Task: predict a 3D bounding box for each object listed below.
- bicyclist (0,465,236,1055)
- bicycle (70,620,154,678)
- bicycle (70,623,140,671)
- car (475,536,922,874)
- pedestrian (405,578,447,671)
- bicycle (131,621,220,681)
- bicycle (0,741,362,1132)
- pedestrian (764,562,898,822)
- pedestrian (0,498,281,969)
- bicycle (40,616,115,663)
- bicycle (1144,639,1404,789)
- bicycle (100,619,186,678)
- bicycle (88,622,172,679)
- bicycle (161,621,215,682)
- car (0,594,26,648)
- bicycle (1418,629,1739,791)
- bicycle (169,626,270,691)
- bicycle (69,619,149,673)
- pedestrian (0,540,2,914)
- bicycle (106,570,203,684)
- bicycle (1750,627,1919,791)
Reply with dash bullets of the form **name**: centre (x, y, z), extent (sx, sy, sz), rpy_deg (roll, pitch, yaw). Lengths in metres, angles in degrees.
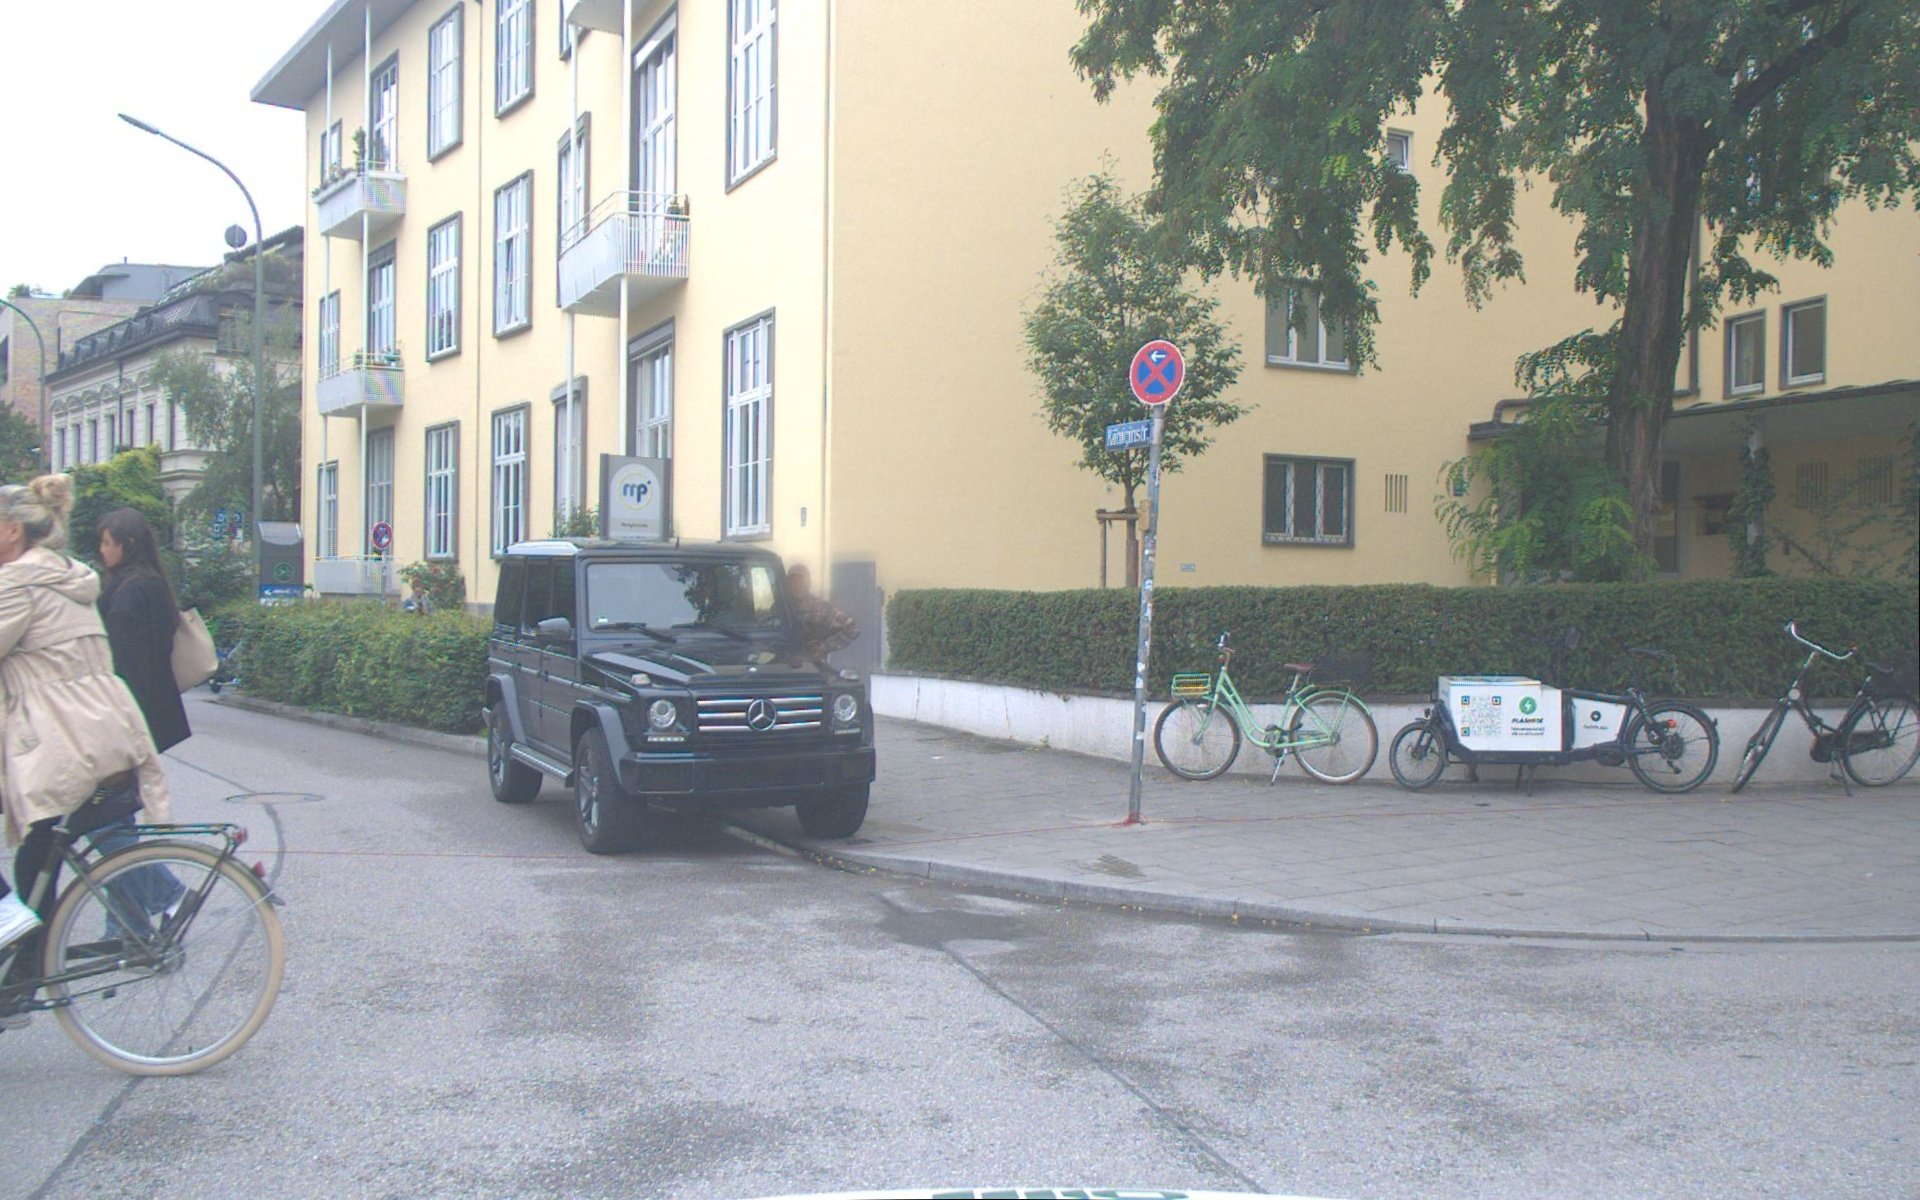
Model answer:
- **bicyclist**: centre (-2.828, 0.454, 5.059), extent (0.985, 1.685, 0.694), rpy_deg (0, 0, -11)
- **bicycle**: centre (-16.326, 0.929, 31.875), extent (0.400, 1.032, 1.537), rpy_deg (-1, 1, 22)
- **bicycle**: centre (-19.830, 1.084, 38.387), extent (0.400, 1.032, 1.537), rpy_deg (-1, 1, 22)
- **car**: centre (-2.093, 0.577, 11.879), extent (1.852, 1.920, 4.577), rpy_deg (0, 0, -27)
- **pedestrian**: centre (-10.056, 0.451, 31.133), extent (0.624, 1.713, 0.691), rpy_deg (-1, 0, -28)
- **bicycle**: centre (-14.548, 0.931, 30.699), extent (0.359, 1.032, 1.534), rpy_deg (0, 1, 31)
- **bicycle**: centre (-2.897, 0.997, 5.043), extent (1.925, 1.042, 0.683), rpy_deg (0, 0, -11)
- **pedestrian**: centre (-0.945, 0.626, 11.918), extent (0.833, 1.788, 0.951), rpy_deg (0, 0, -12)
- **pedestrian**: centre (-3.493, 0.538, 7.081), extent (0.833, 1.890, 0.766), rpy_deg (-1, 0, -1)
- **bicycle**: centre (-20.615, 0.905, 38.650), extent (0.401, 1.032, 1.532), rpy_deg (0, 1, 35)
- **bicycle**: centre (2.437, 0.875, 12.941), extent (1.907, 1.103, 0.528), rpy_deg (-2, -1, 29)
- **bicycle**: centre (-15.461, 0.907, 31.337), extent (0.400, 1.032, 1.536), rpy_deg (0, 1, 26)
- **bicycle**: centre (-15.876, 0.954, 31.674), extent (0.400, 1.032, 1.537), rpy_deg (-1, 1, 22)
- **bicycle**: centre (-13.882, 0.914, 29.770), extent (0.359, 1.032, 1.536), rpy_deg (-1, 1, -6)
- **car**: centre (-29.548, 0.626, 50.299), extent (1.634, 1.585, 3.514), rpy_deg (0, 0, -36)
- **bicycle**: centre (4.524, 0.795, 12.192), extent (2.122, 1.135, 0.641), rpy_deg (0, 0, 2)
- **bicycle**: centre (-12.660, 0.986, 28.294), extent (1.523, 1.032, 0.362), rpy_deg (-1, 1, -40)
- **bicycle**: centre (-17.206, 0.923, 33.471), extent (0.400, 1.032, 1.537), rpy_deg (-1, 1, 22)
- **pedestrian**: centre (-4.998, 0.606, 7.541), extent (0.809, 1.776, 0.741), rpy_deg (0, 0, 5)
- **bicycle**: centre (-15.009, 0.478, 30.865), extent (0.446, 2.049, 1.675), rpy_deg (0, 1, 26)
- **bicycle**: centre (6.708, 0.788, 12.256), extent (1.654, 1.150, 0.458), rpy_deg (0, 0, -16)
